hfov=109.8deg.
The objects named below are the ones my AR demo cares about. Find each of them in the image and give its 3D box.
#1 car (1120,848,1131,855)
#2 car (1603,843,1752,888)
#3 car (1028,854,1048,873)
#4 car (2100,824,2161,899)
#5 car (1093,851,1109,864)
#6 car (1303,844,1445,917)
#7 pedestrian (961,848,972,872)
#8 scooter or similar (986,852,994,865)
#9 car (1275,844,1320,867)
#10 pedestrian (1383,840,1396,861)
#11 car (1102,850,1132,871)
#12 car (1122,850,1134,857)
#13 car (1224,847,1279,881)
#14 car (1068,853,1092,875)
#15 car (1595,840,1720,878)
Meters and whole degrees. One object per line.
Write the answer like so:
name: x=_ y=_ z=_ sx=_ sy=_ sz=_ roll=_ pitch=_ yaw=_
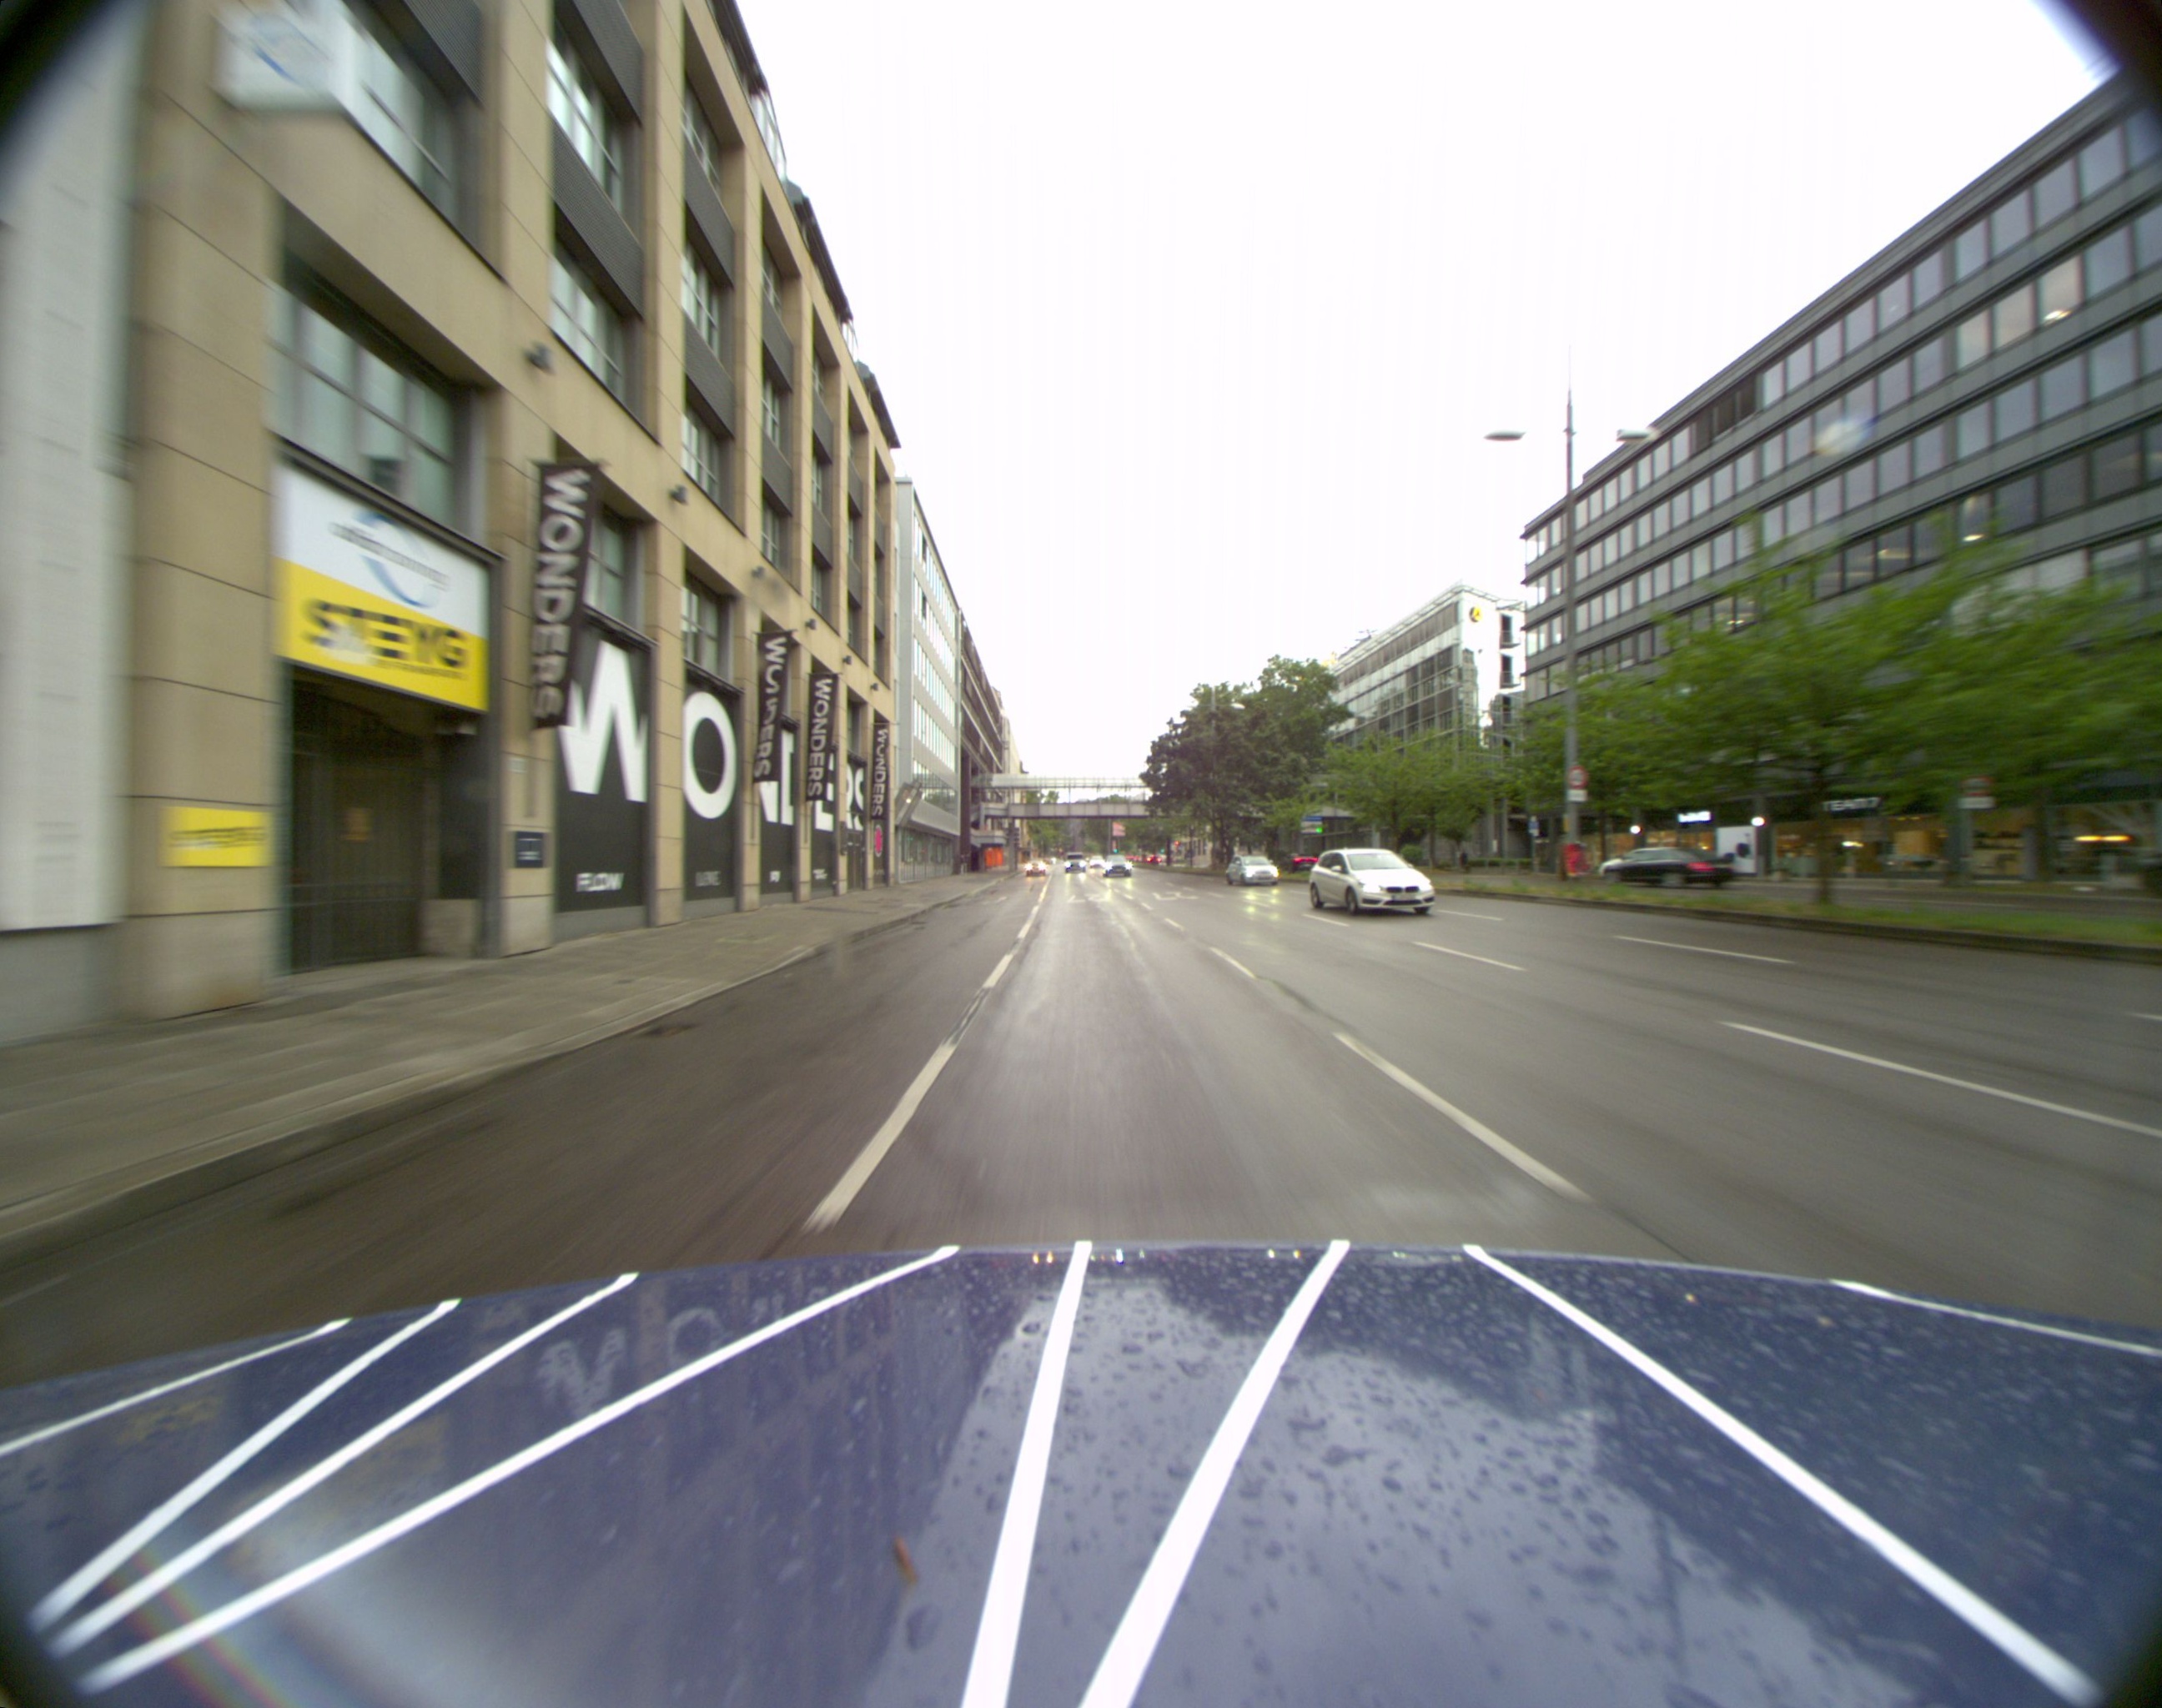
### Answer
car: x=9.082 y=-0.518 z=154.984 sx=1.732 sy=1.303 sz=4.075 roll=-1 pitch=0 yaw=-5
car: x=21.146 y=0.373 z=27.193 sx=1.814 sy=1.467 sz=4.299 roll=-1 pitch=0 yaw=-4
car: x=-3.709 y=0.800 z=65.532 sx=1.667 sy=1.464 sz=3.482 roll=-2 pitch=0 yaw=-3
car: x=25.200 y=0.153 z=15.958 sx=1.813 sy=1.651 sz=4.309 roll=-2 pitch=1 yaw=0
car: x=2.334 y=0.371 z=91.599 sx=1.853 sy=1.434 sz=3.870 roll=-2 pitch=0 yaw=1
car: x=7.042 y=0.575 z=18.752 sx=1.788 sy=1.564 sz=4.287 roll=-1 pitch=0 yaw=-1
pedestrian: x=-8.849 y=0.429 z=58.908 sx=0.729 sy=1.822 sz=0.764 roll=-1 pitch=2 yaw=-2
scooter or similar: x=-8.621 y=0.431 z=71.627 sx=0.472 sy=1.266 sz=1.306 roll=-2 pitch=1 yaw=-18
car: x=16.440 y=0.071 z=57.813 sx=1.814 sy=1.508 sz=4.714 roll=-1 pitch=3 yaw=-4
pedestrian: x=27.597 y=-0.303 z=68.067 sx=0.729 sy=1.822 sz=0.924 roll=-2 pitch=1 yaw=-2
car: x=2.545 y=0.456 z=55.220 sx=1.941 sy=1.426 sz=4.287 roll=-1 pitch=0 yaw=0
car: x=9.104 y=-0.045 z=148.187 sx=1.732 sy=1.303 sz=4.075 roll=-2 pitch=0 yaw=-5
car: x=8.375 y=0.470 z=37.620 sx=1.788 sy=1.564 sz=3.690 roll=-1 pitch=0 yaw=-2
car: x=-0.138 y=0.947 z=73.699 sx=2.163 sy=2.014 sz=5.040 roll=-2 pitch=0 yaw=-1
car: x=24.485 y=0.194 z=32.486 sx=1.814 sy=1.436 sz=4.308 roll=-2 pitch=0 yaw=-4
